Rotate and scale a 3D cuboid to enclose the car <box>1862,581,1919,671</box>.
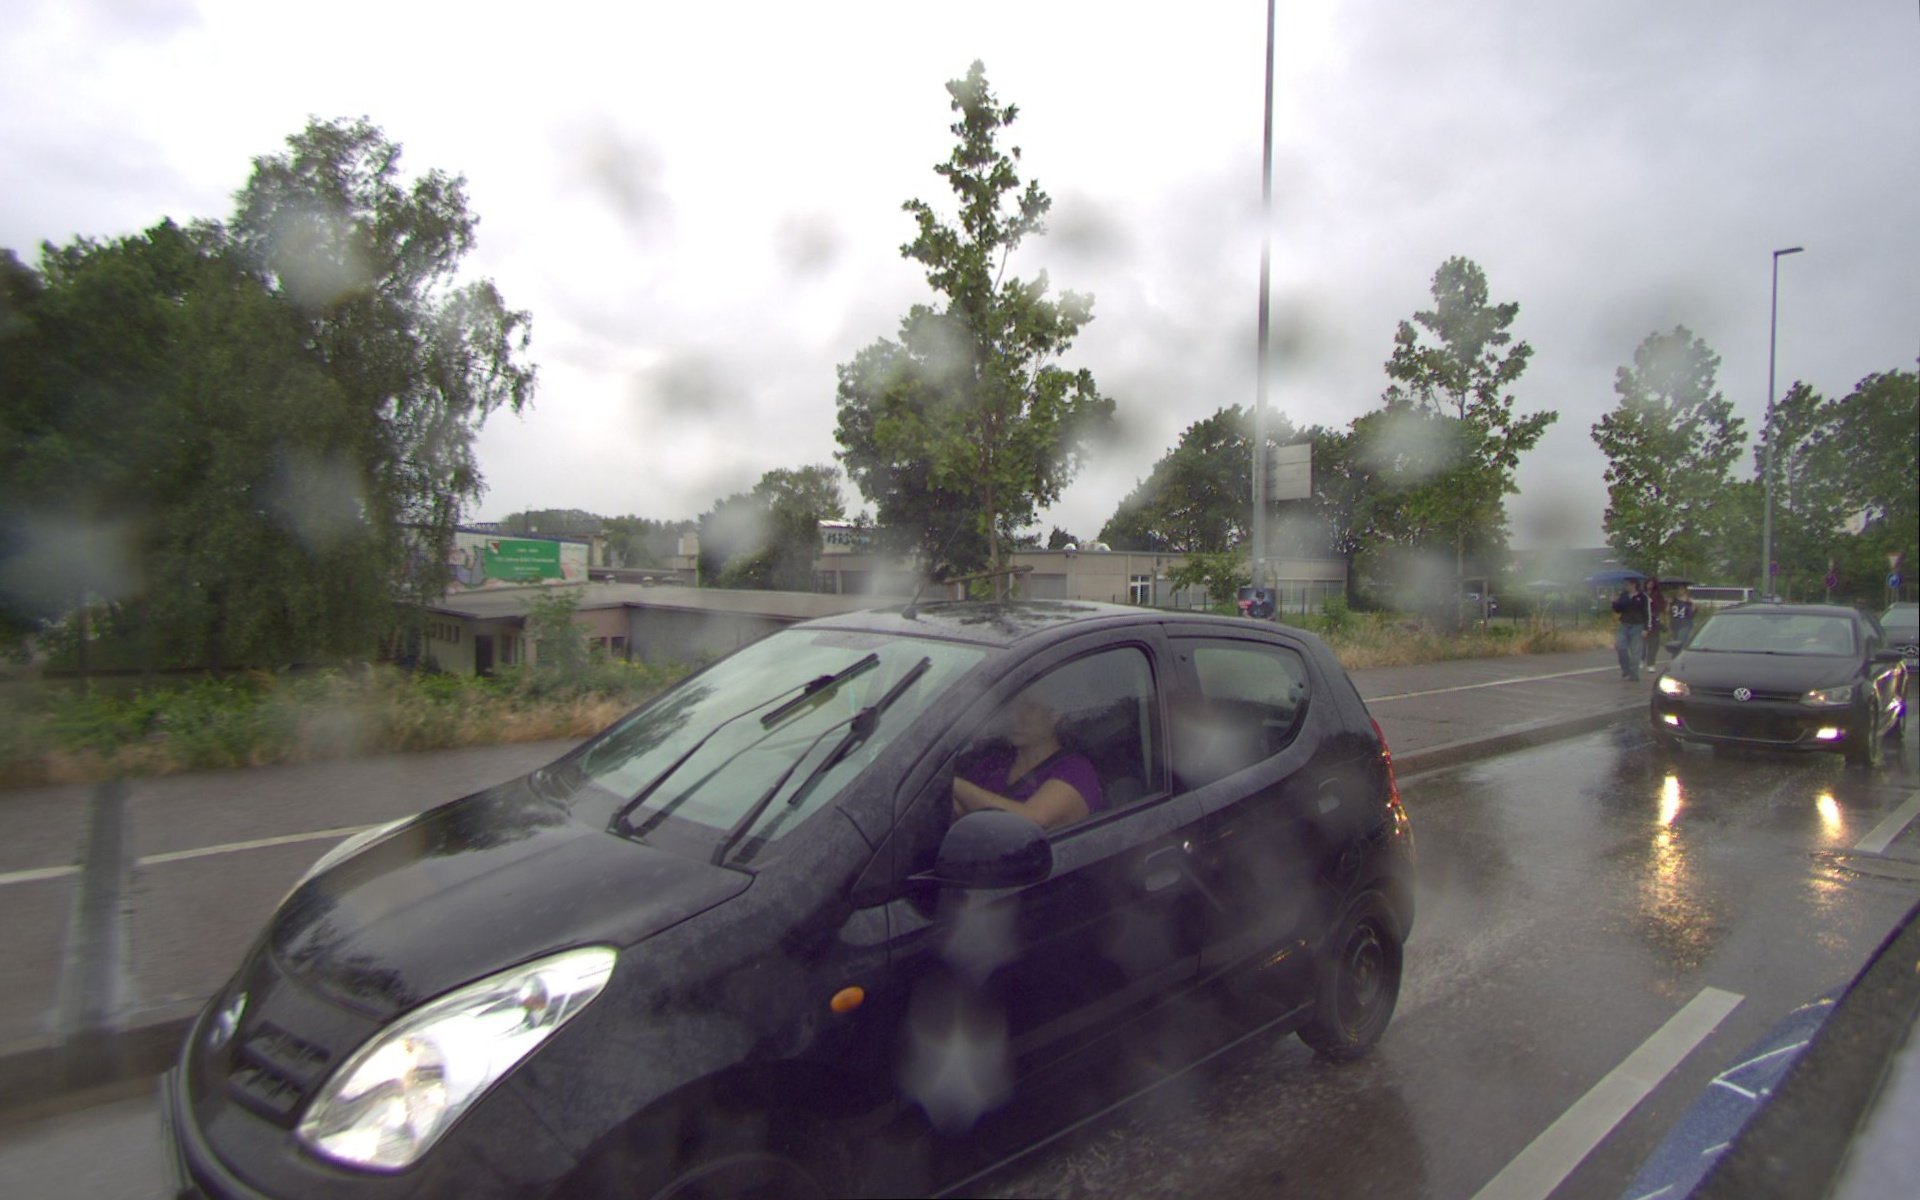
[{"bbox_3d":[18.013,0.478,18.561,3.971,1.544,1.714,1,-1,-41],"label":"car"}]

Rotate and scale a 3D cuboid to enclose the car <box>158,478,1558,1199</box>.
[{"bbox_3d":[0.112,0.634,3.136,4.019,1.480,1.775,1,-1,-40],"label":"car"}]

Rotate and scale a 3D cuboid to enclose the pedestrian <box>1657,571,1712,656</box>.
[{"bbox_3d":[14.496,0.254,20.251,0.639,1.631,0.733,0,2,-40],"label":"pedestrian"}]

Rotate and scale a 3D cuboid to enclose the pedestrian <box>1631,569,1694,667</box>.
[{"bbox_3d":[12.142,0.293,17.504,0.566,1.631,0.733,0,2,-40],"label":"pedestrian"}]

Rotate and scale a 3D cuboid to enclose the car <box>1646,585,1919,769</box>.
[{"bbox_3d":[8.525,0.660,10.203,3.971,1.504,1.714,1,-1,-41],"label":"car"}]

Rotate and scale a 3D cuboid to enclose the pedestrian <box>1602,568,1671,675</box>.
[{"bbox_3d":[10.681,0.315,15.988,0.607,1.631,0.733,0,2,-40],"label":"pedestrian"}]
